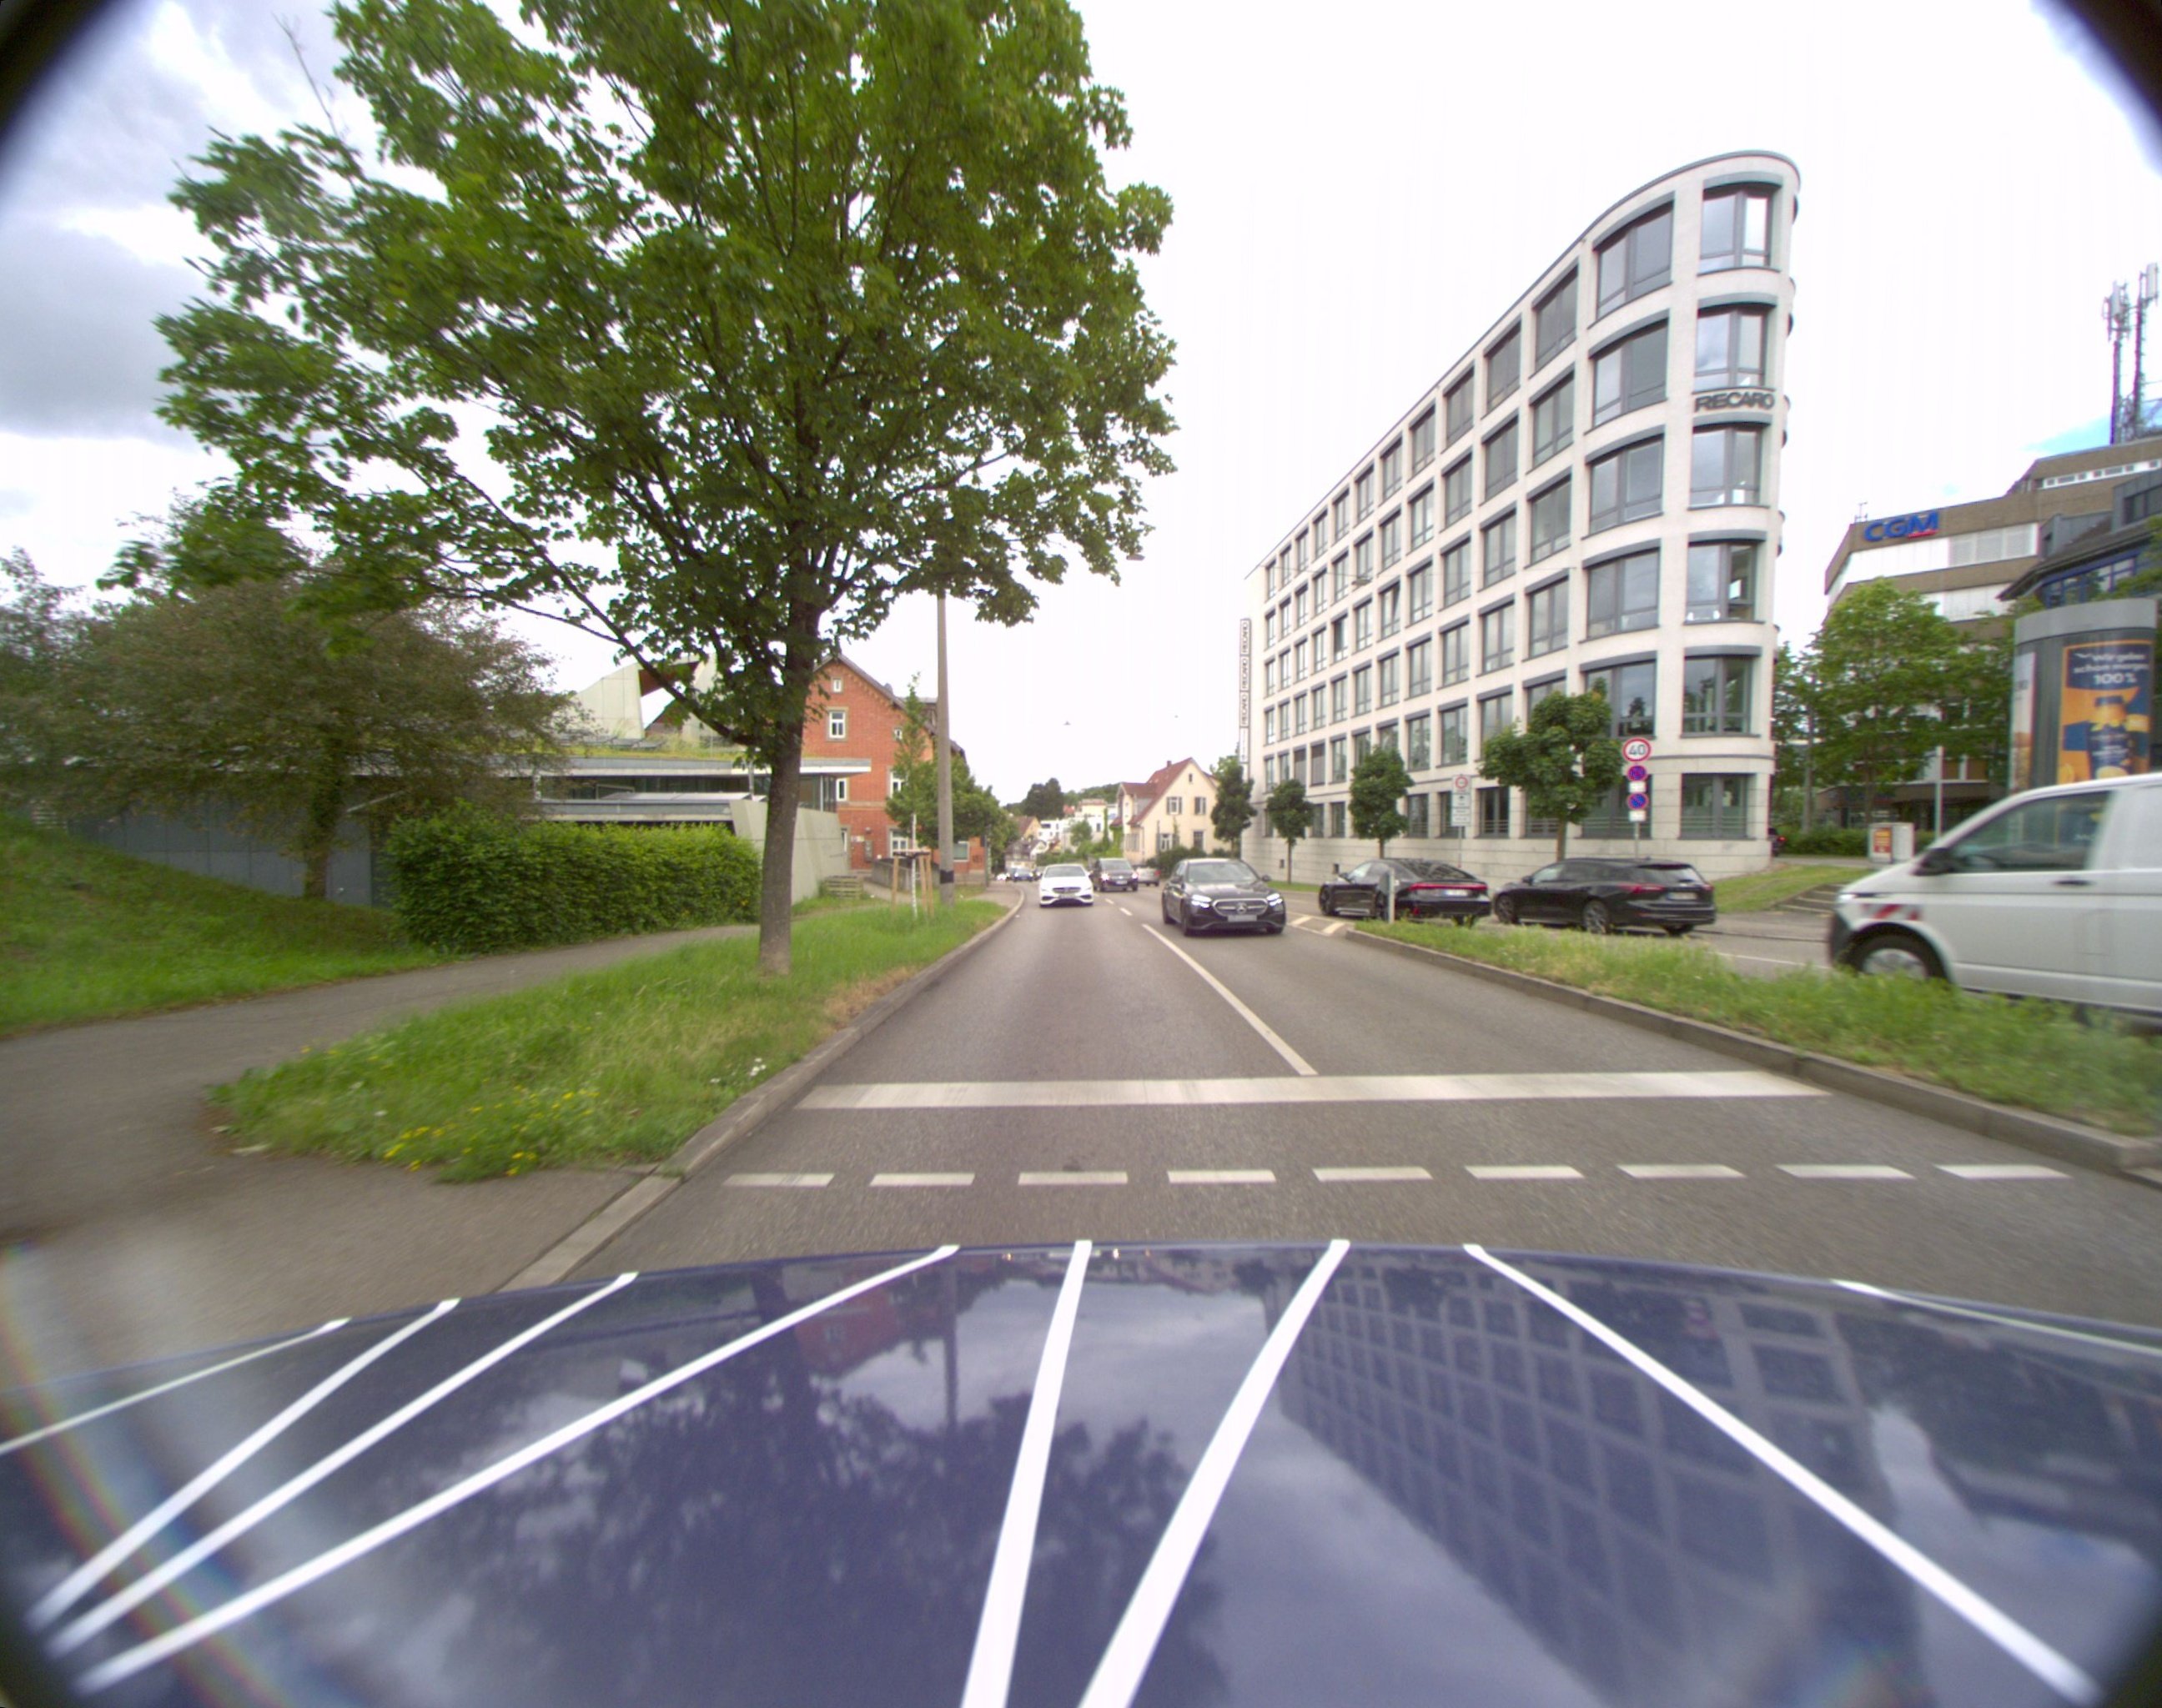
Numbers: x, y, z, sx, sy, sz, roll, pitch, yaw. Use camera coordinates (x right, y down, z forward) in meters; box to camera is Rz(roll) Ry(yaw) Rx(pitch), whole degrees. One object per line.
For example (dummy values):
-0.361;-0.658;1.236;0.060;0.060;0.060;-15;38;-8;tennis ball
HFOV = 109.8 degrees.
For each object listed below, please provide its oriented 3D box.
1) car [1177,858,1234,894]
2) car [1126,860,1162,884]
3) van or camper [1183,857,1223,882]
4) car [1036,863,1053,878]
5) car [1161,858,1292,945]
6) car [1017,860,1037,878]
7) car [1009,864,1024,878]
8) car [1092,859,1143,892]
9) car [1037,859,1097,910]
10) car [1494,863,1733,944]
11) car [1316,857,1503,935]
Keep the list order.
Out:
5.673;0.976;35.107;1.782;1.556;3.999;0;0;-3;car
4.011;1.140;48.885;1.782;1.472;3.979;0;0;-3;car
9.872;1.307;61.872;2.066;1.956;4.871;0;-2;-6;van or camper
-4.326;1.908;90.387;1.713;1.680;3.790;0;0;-8;car
2.829;0.895;15.743;1.878;1.520;4.336;-1;-1;0;car
-5.384;1.472;74.783;1.713;1.680;3.790;0;0;-8;car
-8.345;2.175;98.205;1.713;1.680;3.790;0;0;-8;car
1.732;1.051;37.233;1.879;1.520;3.998;-1;-1;-7;car
-0.412;0.985;26.551;1.809;1.521;4.000;-3;0;2;car
10.389;0.882;15.250;1.789;1.370;3.949;-1;0;-5;car
7.015;0.829;16.813;1.783;1.472;4.479;0;-1;-7;car
